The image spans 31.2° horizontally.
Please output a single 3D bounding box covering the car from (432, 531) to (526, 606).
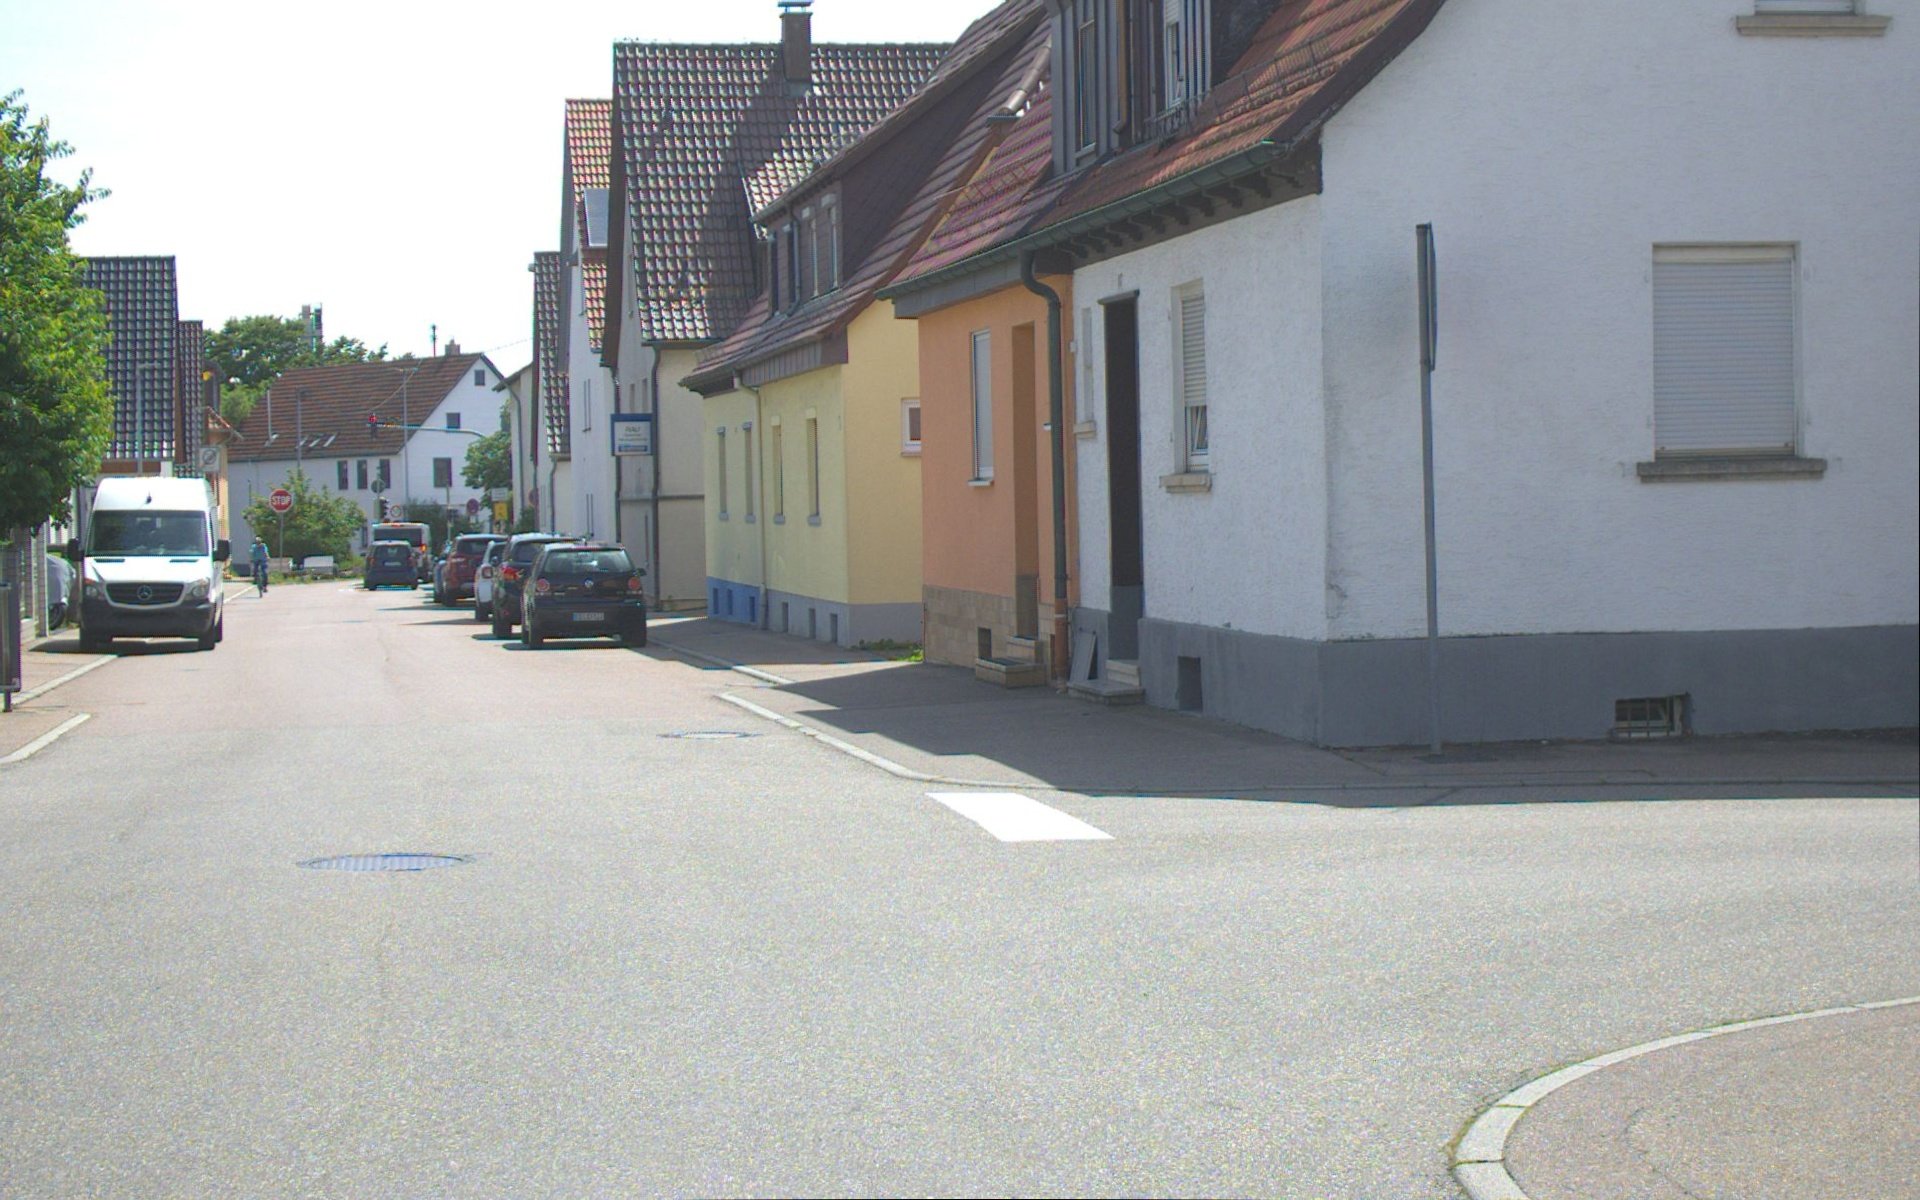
[{"bbox_3d":[-11.306,-0.752,80.609,1.875,1.694,4.184,-1,1,-12],"label":"car"}]

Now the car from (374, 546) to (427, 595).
[{"bbox_3d":[-18.051,-0.960,111.020,1.515,1.561,3.185,-1,1,-7],"label":"car"}]

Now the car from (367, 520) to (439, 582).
[{"bbox_3d":[-20.236,-1.786,125.039,2.128,2.151,4.737,-1,1,-4],"label":"car"}]

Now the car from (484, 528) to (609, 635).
[{"bbox_3d":[-6.531,-0.321,54.062,1.728,1.594,4.254,-1,1,-10],"label":"car"}]

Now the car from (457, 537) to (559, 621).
[{"bbox_3d":[-8.666,-0.420,65.814,1.673,1.553,3.041,-1,1,-12],"label":"car"}]

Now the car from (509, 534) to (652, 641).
[{"bbox_3d":[-5.393,-0.203,48.569,1.610,1.426,3.755,-1,1,-12],"label":"car"}]

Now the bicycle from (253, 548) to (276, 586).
[{"bbox_3d":[-20.989,-1.006,103.763,0.670,1.128,2.190,-1,1,-11],"label":"bicycle"}]

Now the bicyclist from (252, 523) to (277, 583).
[{"bbox_3d":[-20.979,-1.420,103.717,0.713,1.792,0.942,-1,1,-12],"label":"bicyclist"}]

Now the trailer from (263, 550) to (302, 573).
[{"bbox_3d":[-27.522,-1.554,139.658,1.501,0.924,1.012,1,1,-9],"label":"trailer"}]

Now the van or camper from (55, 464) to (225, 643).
[{"bbox_3d":[-12.500,-0.738,52.757,2.184,2.563,6.809,0,1,-11],"label":"van or camper"}]
